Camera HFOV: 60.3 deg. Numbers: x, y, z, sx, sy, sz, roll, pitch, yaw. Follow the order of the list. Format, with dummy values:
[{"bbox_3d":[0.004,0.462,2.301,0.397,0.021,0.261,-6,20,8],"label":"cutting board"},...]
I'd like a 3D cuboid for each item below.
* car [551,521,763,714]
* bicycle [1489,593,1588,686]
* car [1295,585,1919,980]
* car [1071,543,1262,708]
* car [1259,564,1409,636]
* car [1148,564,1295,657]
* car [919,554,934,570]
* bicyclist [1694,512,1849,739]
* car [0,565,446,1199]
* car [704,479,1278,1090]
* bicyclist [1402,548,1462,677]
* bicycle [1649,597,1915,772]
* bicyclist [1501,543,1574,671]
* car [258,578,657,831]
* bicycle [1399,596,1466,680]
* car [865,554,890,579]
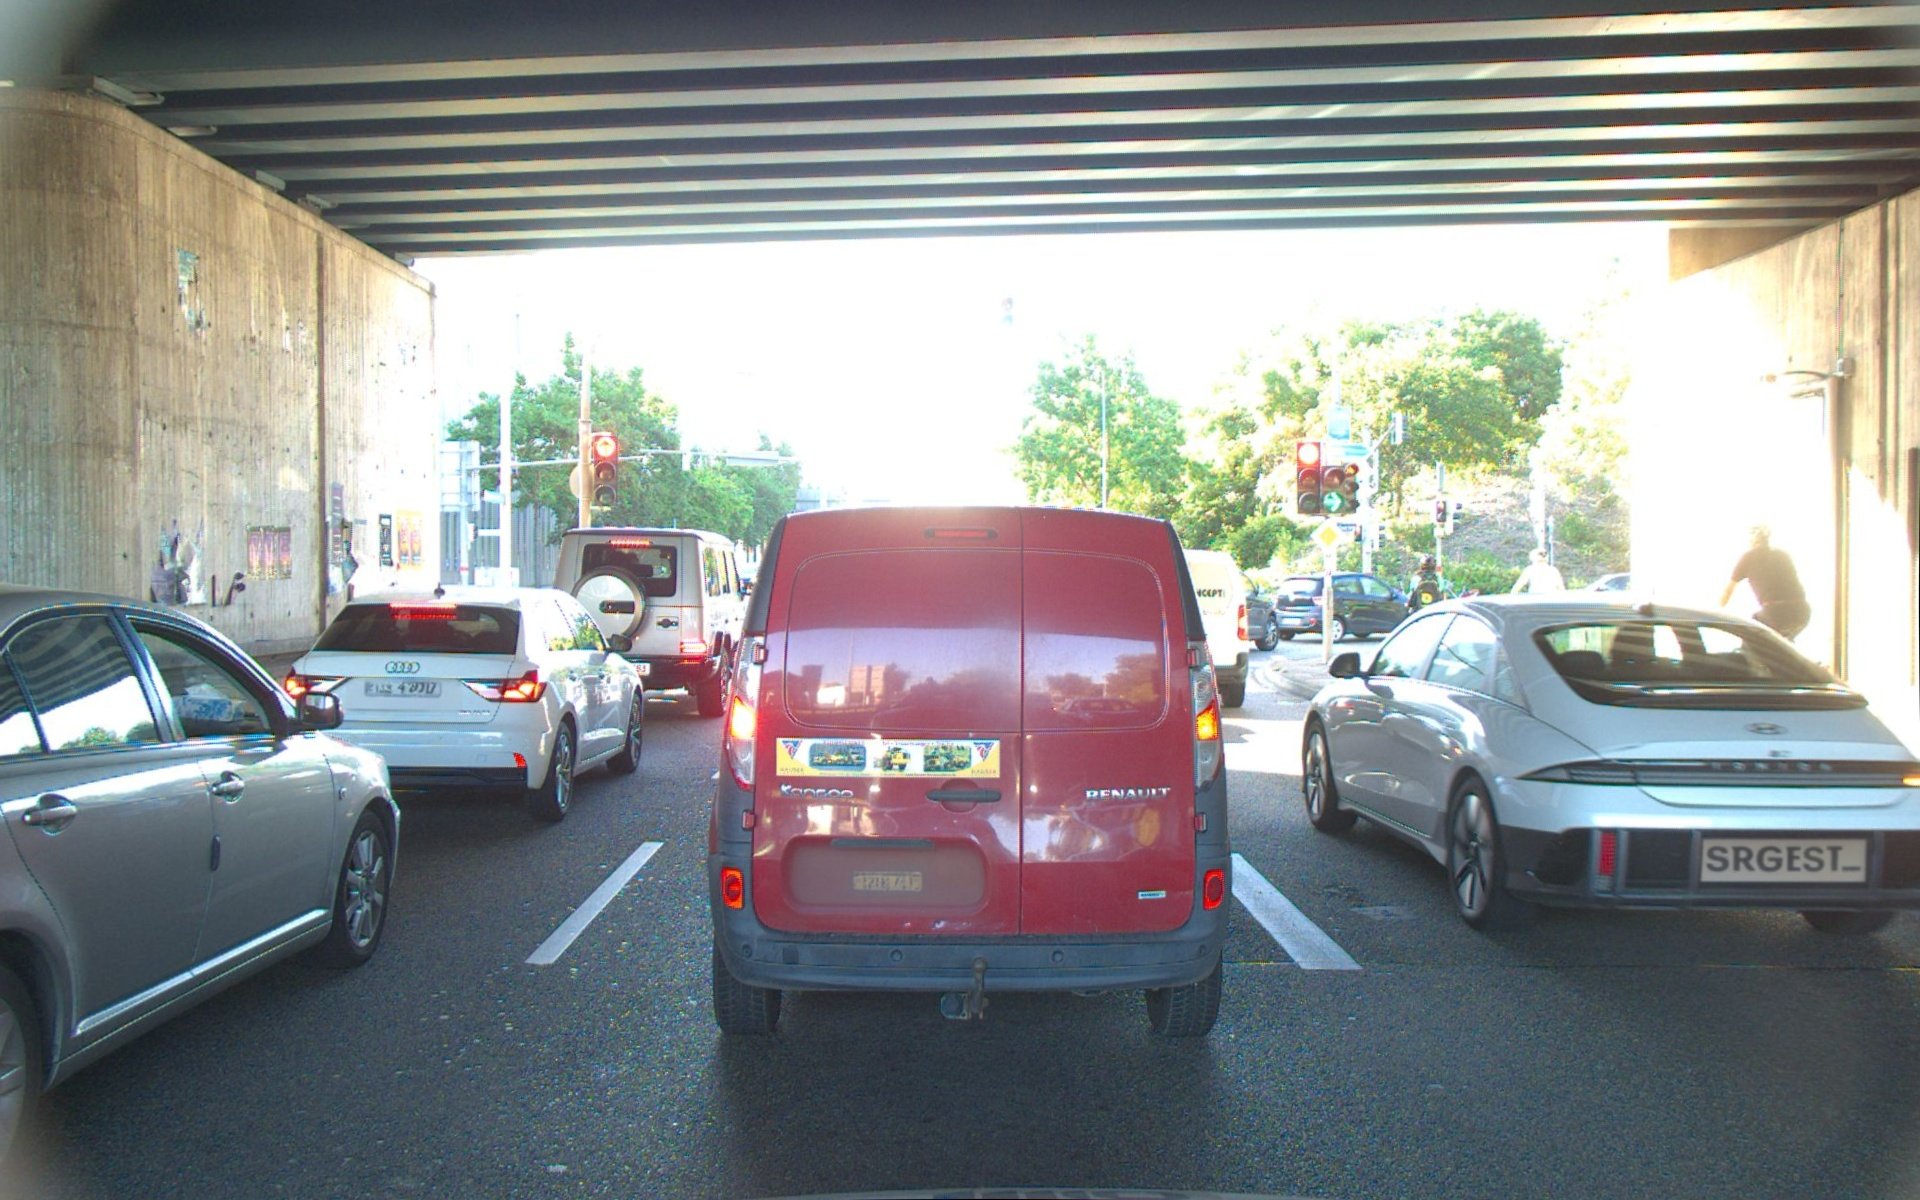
[{"bbox_3d":[-3.314,0.165,18.772,1.777,1.937,3.812,1,0,-2],"label":"car"},{"bbox_3d":[7.290,0.481,20.904,0.667,1.132,1.603,0,0,-1],"label":"bicycle"},{"bbox_3d":[3.167,0.681,8.603,1.711,1.481,4.662,1,0,-3],"label":"car"},{"bbox_3d":[2.517,0.252,21.186,1.777,1.865,4.299,1,1,-2],"label":"car"},{"bbox_3d":[8.366,0.018,36.794,1.808,1.489,3.871,1,0,37],"label":"car"},{"bbox_3d":[5.212,0.141,32.577,1.769,1.650,4.105,1,2,25],"label":"car"},{"bbox_3d":[-4.422,-5.050,220.511,1.953,2.049,3.999,1,0,-1],"label":"car"},{"bbox_3d":[6.282,0.192,12.845,0.731,1.684,0.886,1,0,-2],"label":"bicyclist"},{"bbox_3d":[-2.993,0.641,4.877,1.662,1.480,4.397,1,0,-2],"label":"car"},{"bbox_3d":[0.066,0.541,6.924,1.684,1.795,3.999,1,0,-1],"label":"car"},{"bbox_3d":[6.210,0.164,21.793,0.663,1.657,0.644,1,0,10],"label":"bicyclist"},{"bbox_3d":[6.301,0.593,12.881,0.750,1.166,2.469,-2,1,-2],"label":"bicycle"},{"bbox_3d":[7.289,0.086,20.907,0.656,1.589,0.735,0,0,-1],"label":"bicyclist"},{"bbox_3d":[-3.235,0.591,11.418,1.658,1.435,3.812,1,0,-2],"label":"car"},{"bbox_3d":[6.200,0.488,21.758,0.662,1.042,1.530,1,0,10],"label":"bicycle"},{"bbox_3d":[-7.086,-2.862,142.427,1.953,2.049,3.999,1,0,-1],"label":"car"}]
